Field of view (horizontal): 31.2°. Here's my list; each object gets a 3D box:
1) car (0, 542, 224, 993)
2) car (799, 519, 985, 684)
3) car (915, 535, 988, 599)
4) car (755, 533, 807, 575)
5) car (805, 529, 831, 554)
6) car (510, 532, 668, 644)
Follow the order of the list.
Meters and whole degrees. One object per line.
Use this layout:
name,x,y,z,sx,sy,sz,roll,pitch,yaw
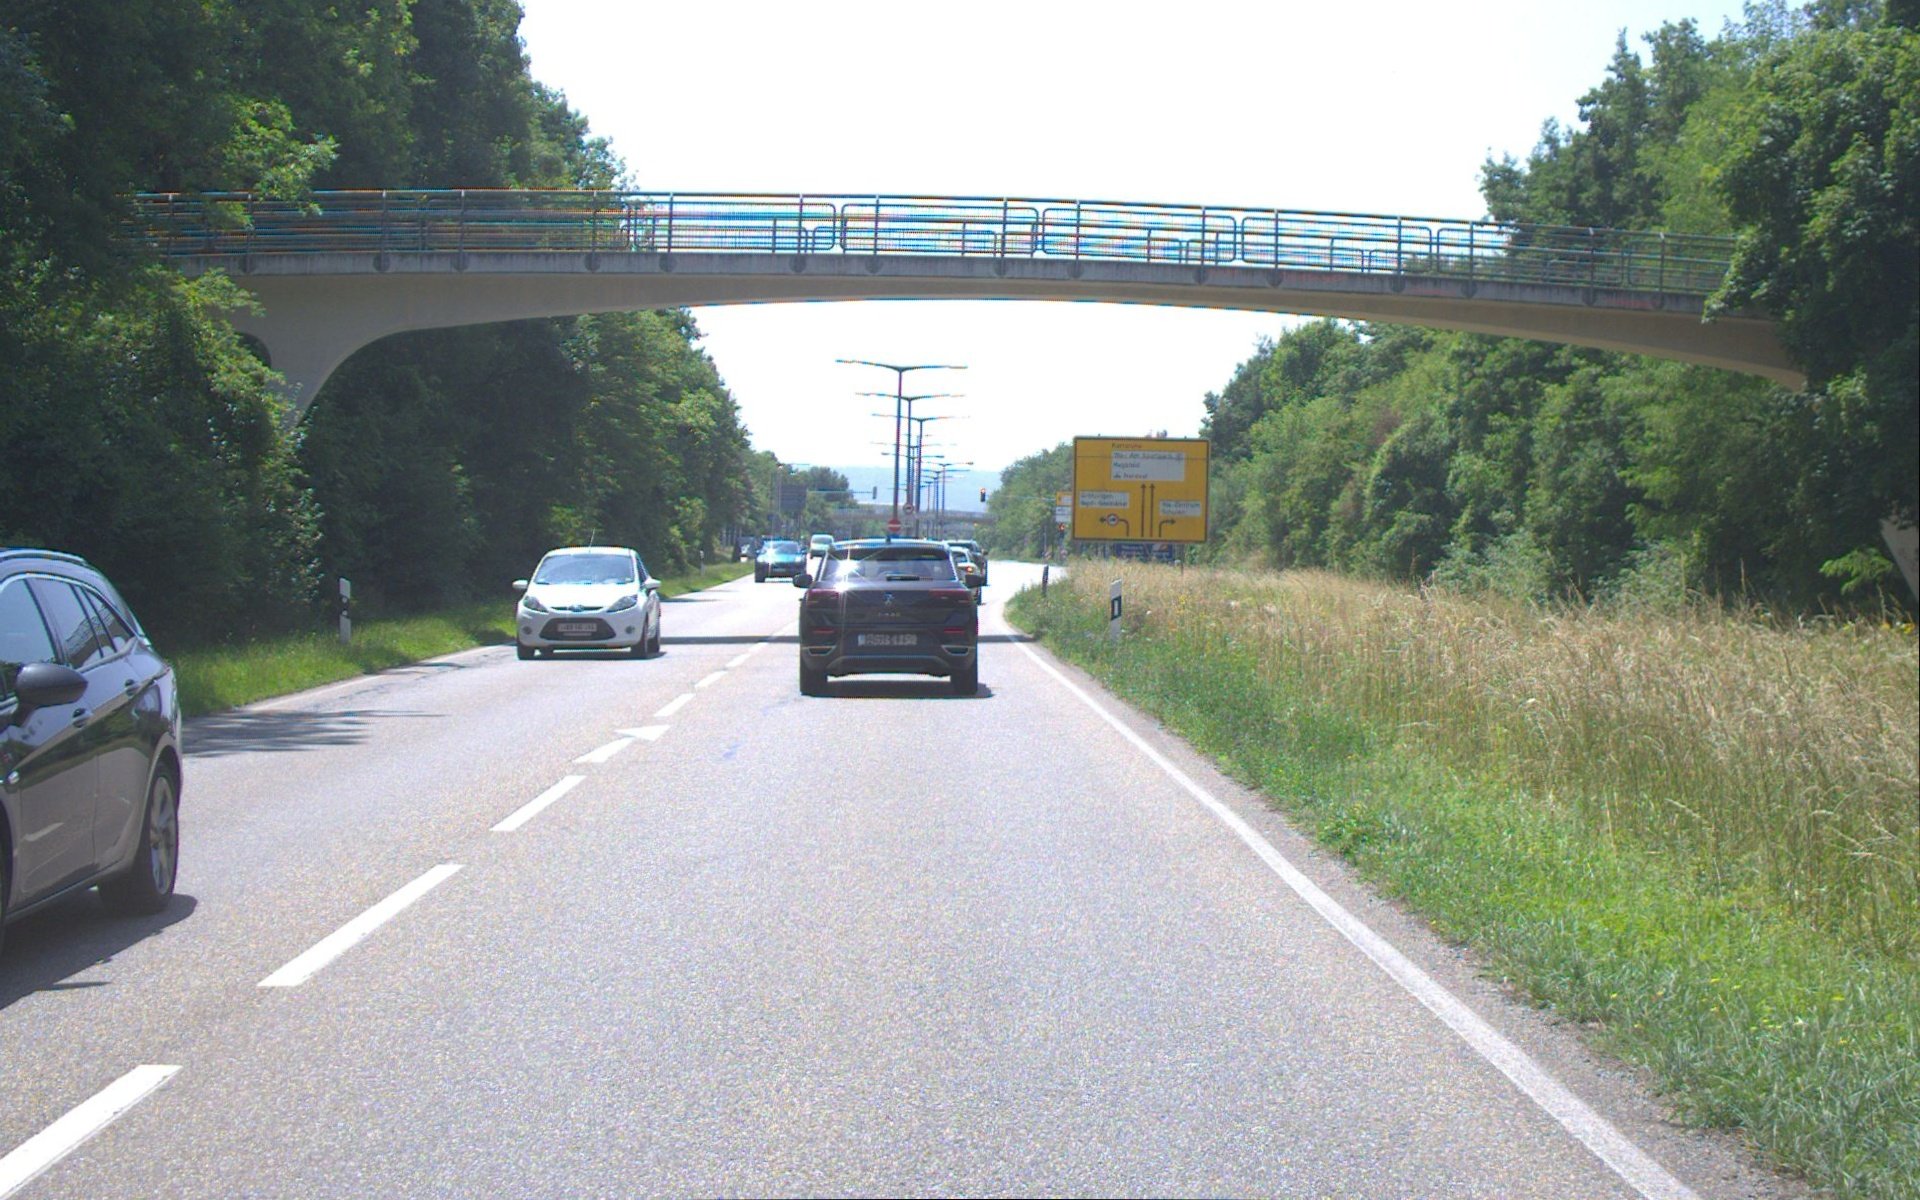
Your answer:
car,-4.001,0.529,12.351,1.783,1.444,4.110,0,1,1
car,-0.654,-0.016,35.020,1.755,1.550,4.000,1,1,0
car,-0.228,-0.850,86.782,1.797,1.577,4.000,0,1,0
car,-6.998,-1.818,134.779,1.823,1.584,4.420,-1,1,-1
car,-9.882,-4.110,239.709,1.731,1.682,4.095,-1,1,-1
car,-4.924,-0.193,46.039,1.677,1.428,3.772,-1,1,0
